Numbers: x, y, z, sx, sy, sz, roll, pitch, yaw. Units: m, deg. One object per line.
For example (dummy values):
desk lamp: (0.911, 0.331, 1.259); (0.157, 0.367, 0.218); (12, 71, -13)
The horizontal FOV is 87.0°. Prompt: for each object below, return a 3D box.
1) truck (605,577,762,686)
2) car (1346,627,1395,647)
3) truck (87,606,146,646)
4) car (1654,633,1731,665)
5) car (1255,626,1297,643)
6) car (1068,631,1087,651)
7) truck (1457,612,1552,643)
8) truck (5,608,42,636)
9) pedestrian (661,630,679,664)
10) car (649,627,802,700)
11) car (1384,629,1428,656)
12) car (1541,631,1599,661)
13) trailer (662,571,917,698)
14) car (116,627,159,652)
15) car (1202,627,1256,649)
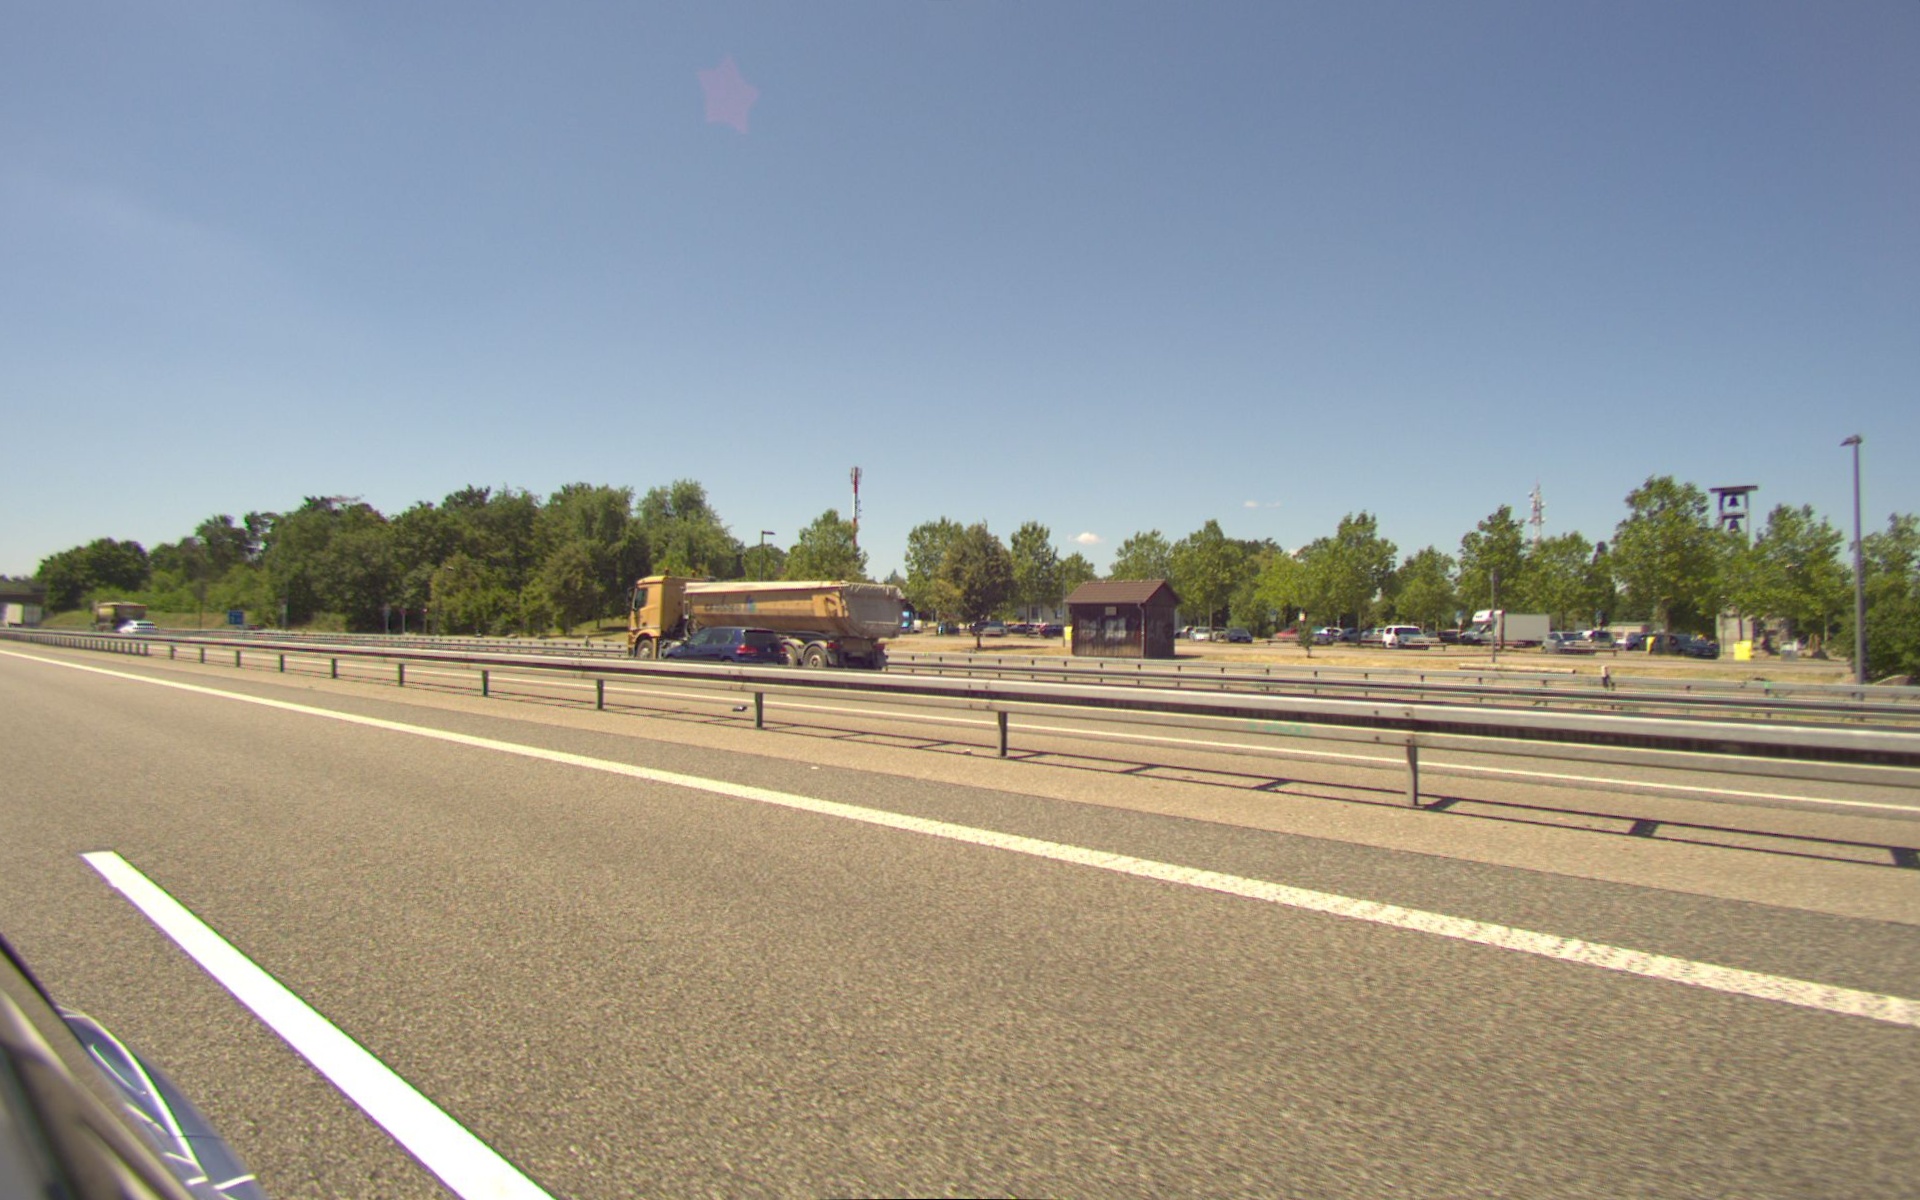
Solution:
truck: (-9.909, 1.048, 36.015); (5.643, 3.542, 2.753); (-1, 0, 41)
car: (35.437, 3.189, 87.454); (1.534, 1.621, 3.709); (-1, 0, -29)
truck: (-85.309, 2.539, 102.209); (11.485, 3.842, 2.835); (-1, 0, 41)
car: (42.079, 2.790, 58.178); (1.521, 1.620, 3.289); (-1, 0, -18)
car: (30.445, 3.311, 97.515); (1.537, 1.544, 3.609); (-1, 0, -42)
car: (10.000, 3.486, 86.400); (1.542, 1.621, 3.433); (-1, 0, 6)
truck: (45.850, 2.299, 85.306); (6.834, 2.511, 2.140); (-1, 0, 0)
truck: (-156.138, 3.673, 168.712); (11.328, 4.445, 3.357); (-1, 0, 41)
pedestrian: (-14.261, 2.294, 49.774); (0.635, 1.619, 0.657); (-1, 0, -37)
car: (-6.372, 1.624, 27.259); (4.483, 1.727, 1.727); (-1, 0, 41)
car: (30.367, 2.901, 69.020); (1.676, 1.684, 3.489); (-1, 0, 4)
car: (37.512, 2.814, 62.317); (1.527, 1.684, 3.399); (-1, 0, 2)
trailer: (-5.696, 0.988, 32.278); (9.367, 3.542, 2.753); (-1, 0, 42)
car: (-62.128, 2.979, 76.460); (4.507, 1.726, 1.787); (-1, 0, 41)
car: (20.423, 2.853, 76.882); (3.680, 1.621, 1.547); (-1, 0, 28)
